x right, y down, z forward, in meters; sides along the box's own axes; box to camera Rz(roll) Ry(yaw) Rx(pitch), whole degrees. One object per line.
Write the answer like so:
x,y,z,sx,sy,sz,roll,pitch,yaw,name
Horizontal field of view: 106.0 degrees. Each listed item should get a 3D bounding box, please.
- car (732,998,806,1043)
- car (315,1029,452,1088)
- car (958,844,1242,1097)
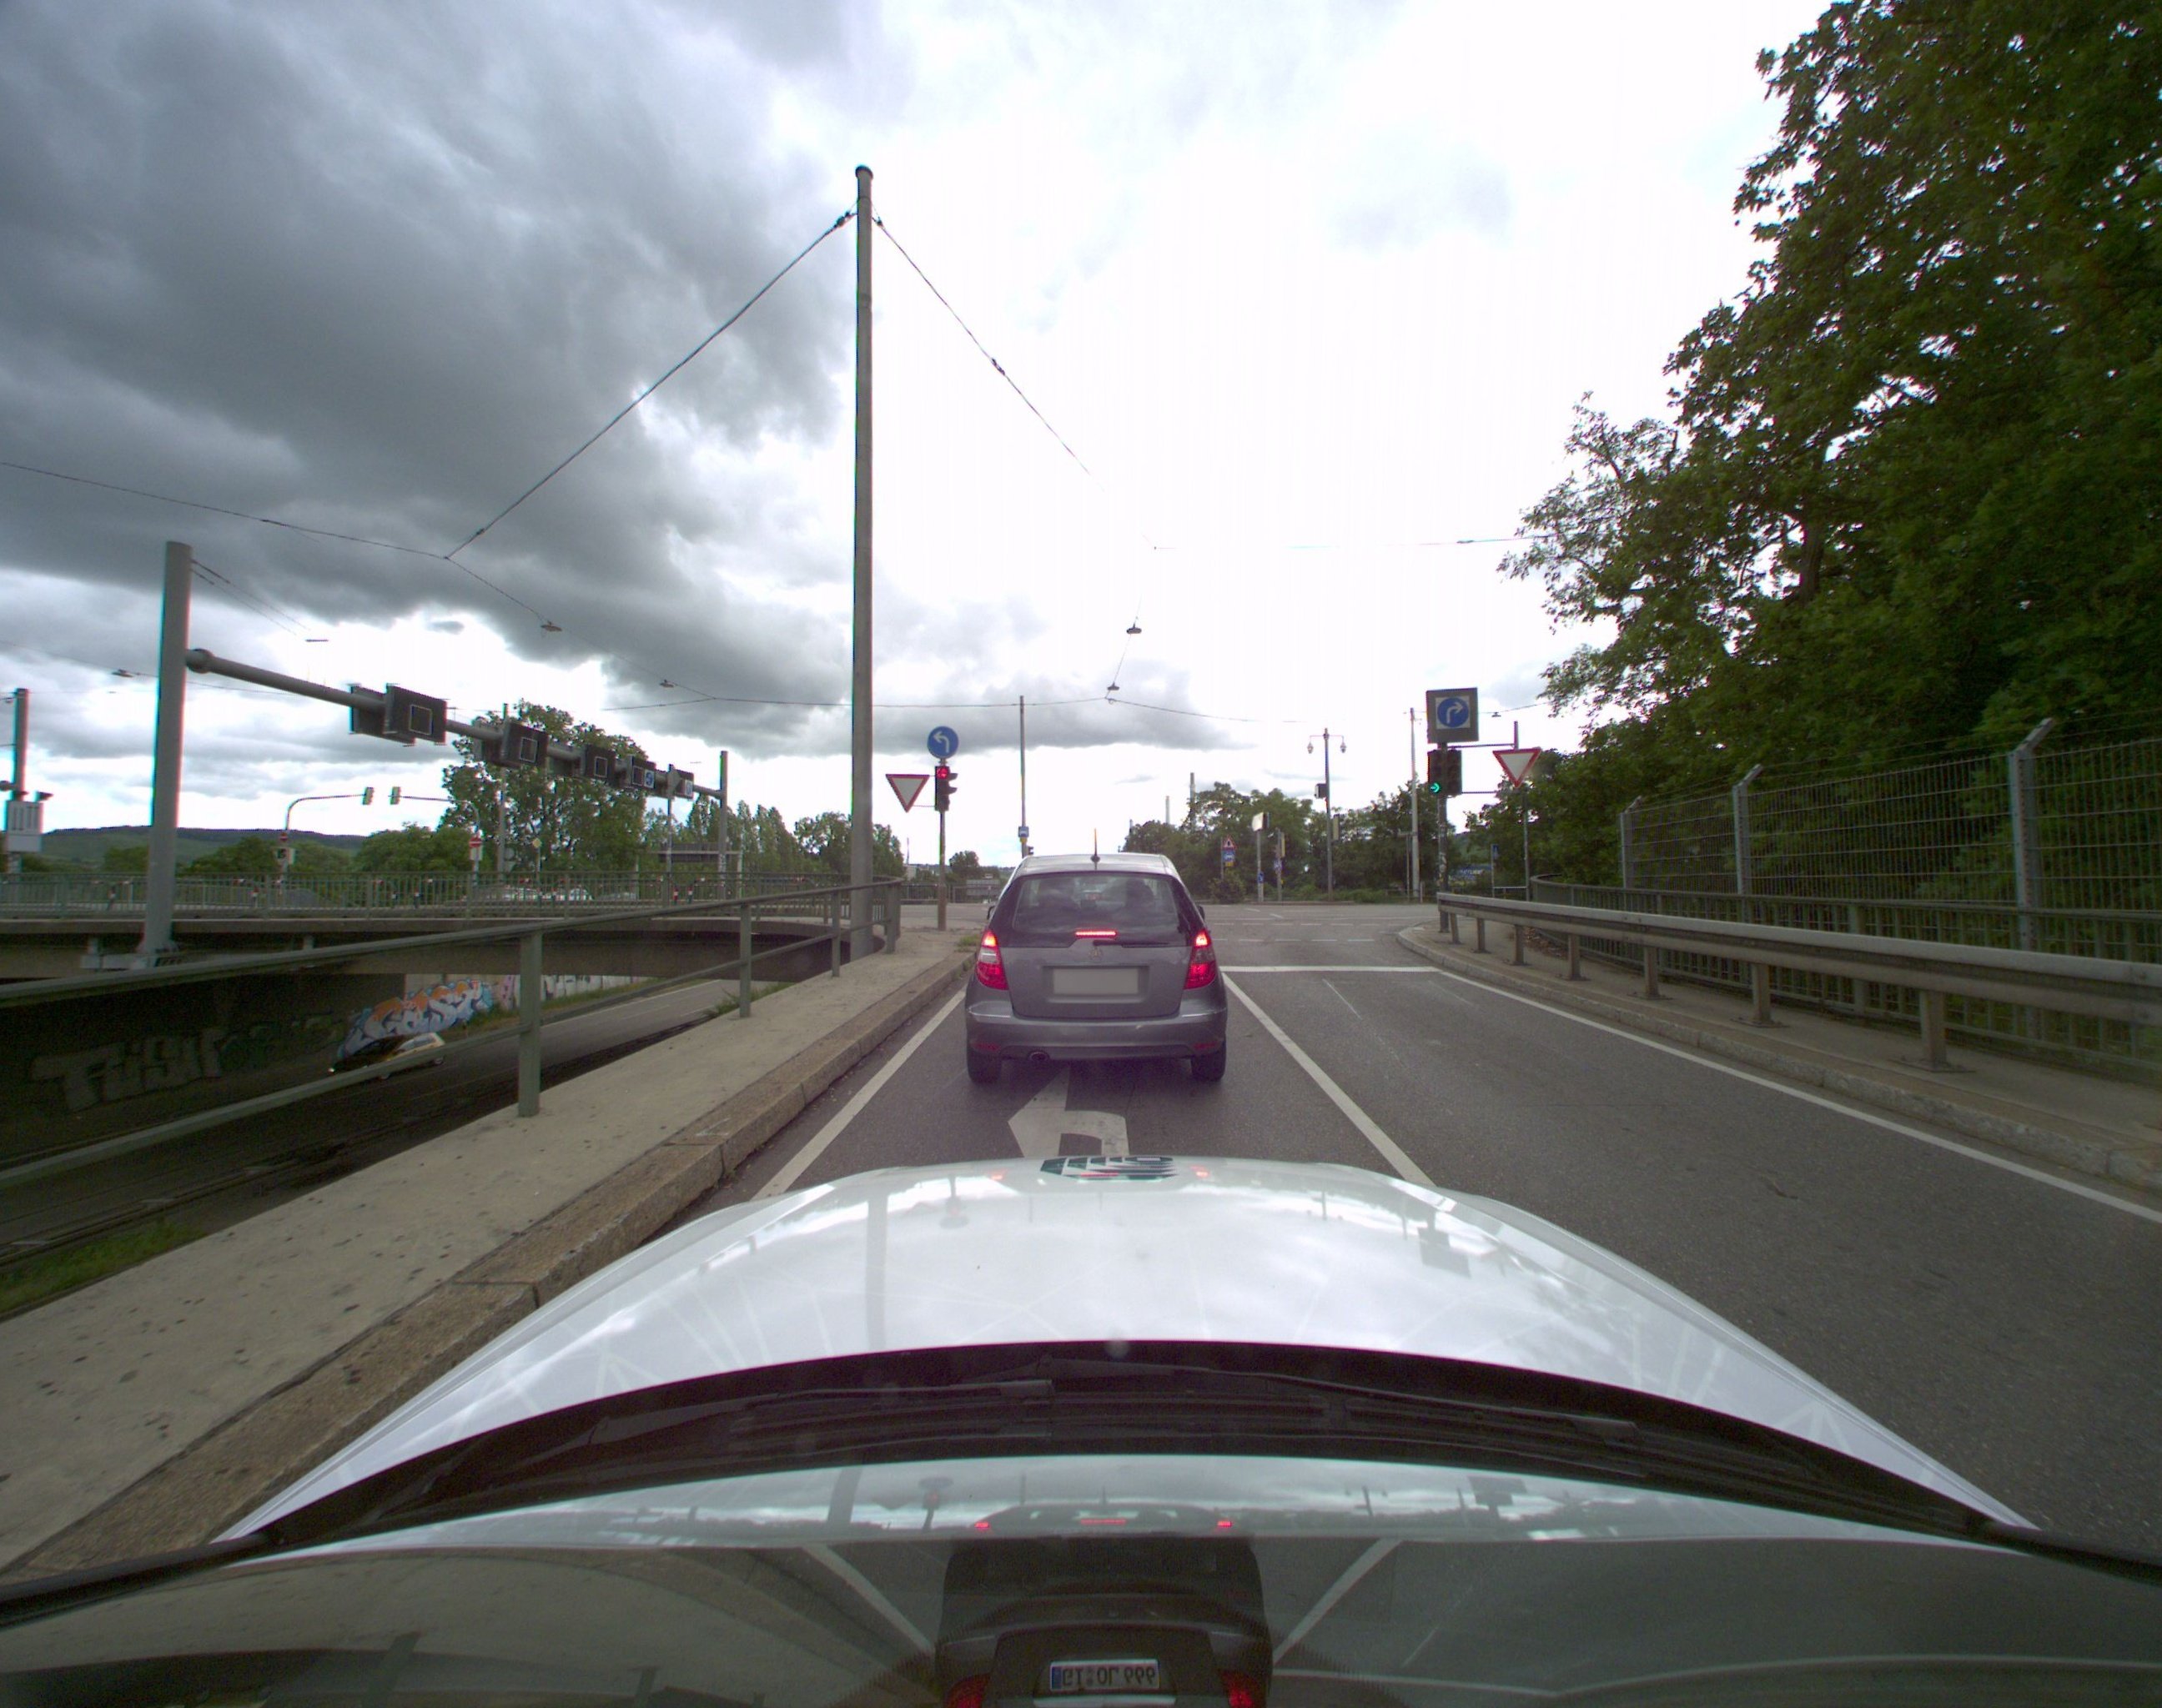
-14.850,7.917,39.029,1.611,1.422,4.418,-2,-3,3,car
-28.119,8.217,33.018,1.861,1.457,4.154,-2,-3,2,car
0.175,0.732,6.786,1.733,1.543,3.542,0,-1,2,car
